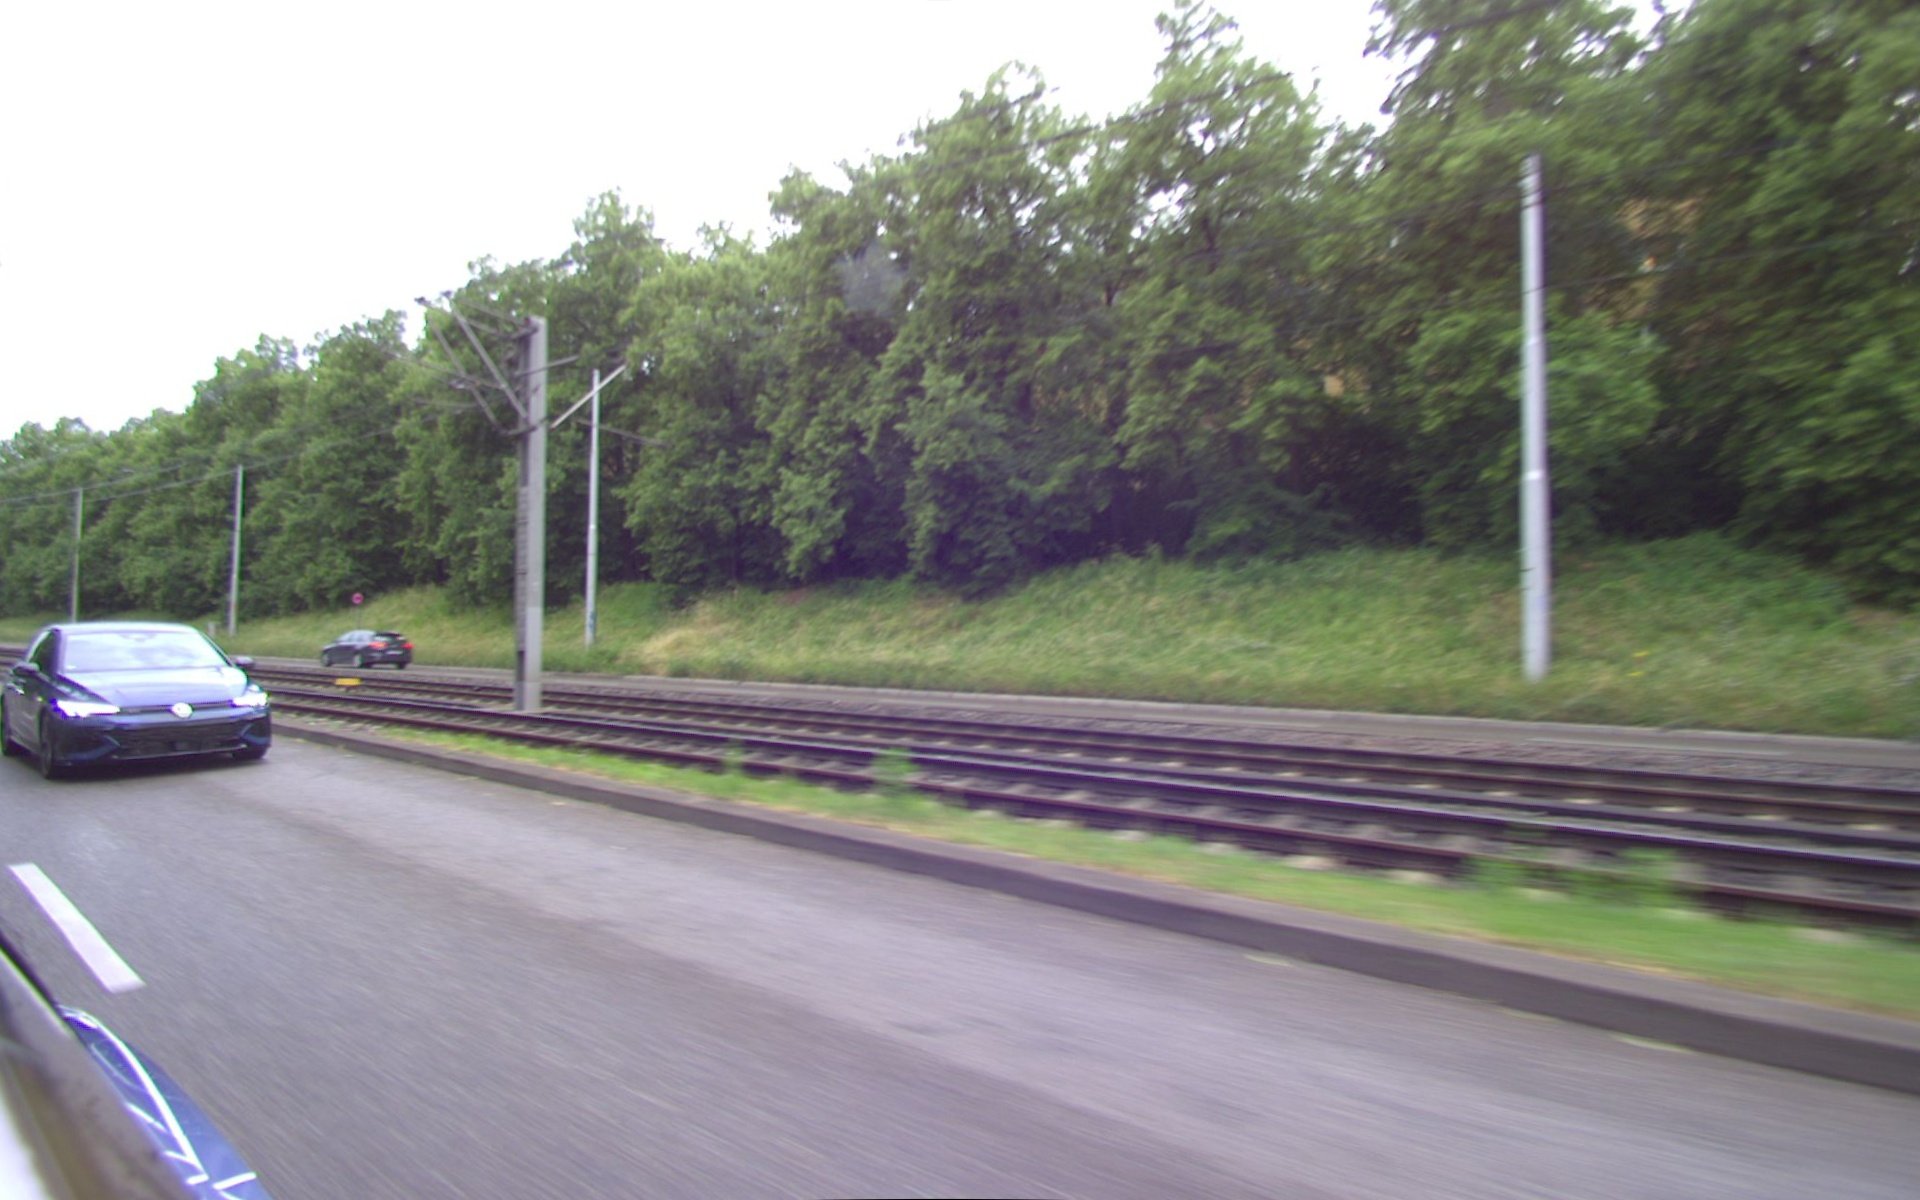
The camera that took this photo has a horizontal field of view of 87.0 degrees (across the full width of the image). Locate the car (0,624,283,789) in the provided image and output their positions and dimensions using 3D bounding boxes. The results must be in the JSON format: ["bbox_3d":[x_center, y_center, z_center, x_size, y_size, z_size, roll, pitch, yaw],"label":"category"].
[{"bbox_3d":[-8.980,0.998,10.845,4.344,1.389,1.789,-2,-1,41],"label":"car"}]

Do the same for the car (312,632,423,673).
[{"bbox_3d":[-23.190,2.040,39.571,4.419,1.442,1.977,-1,-6,34],"label":"car"}]
